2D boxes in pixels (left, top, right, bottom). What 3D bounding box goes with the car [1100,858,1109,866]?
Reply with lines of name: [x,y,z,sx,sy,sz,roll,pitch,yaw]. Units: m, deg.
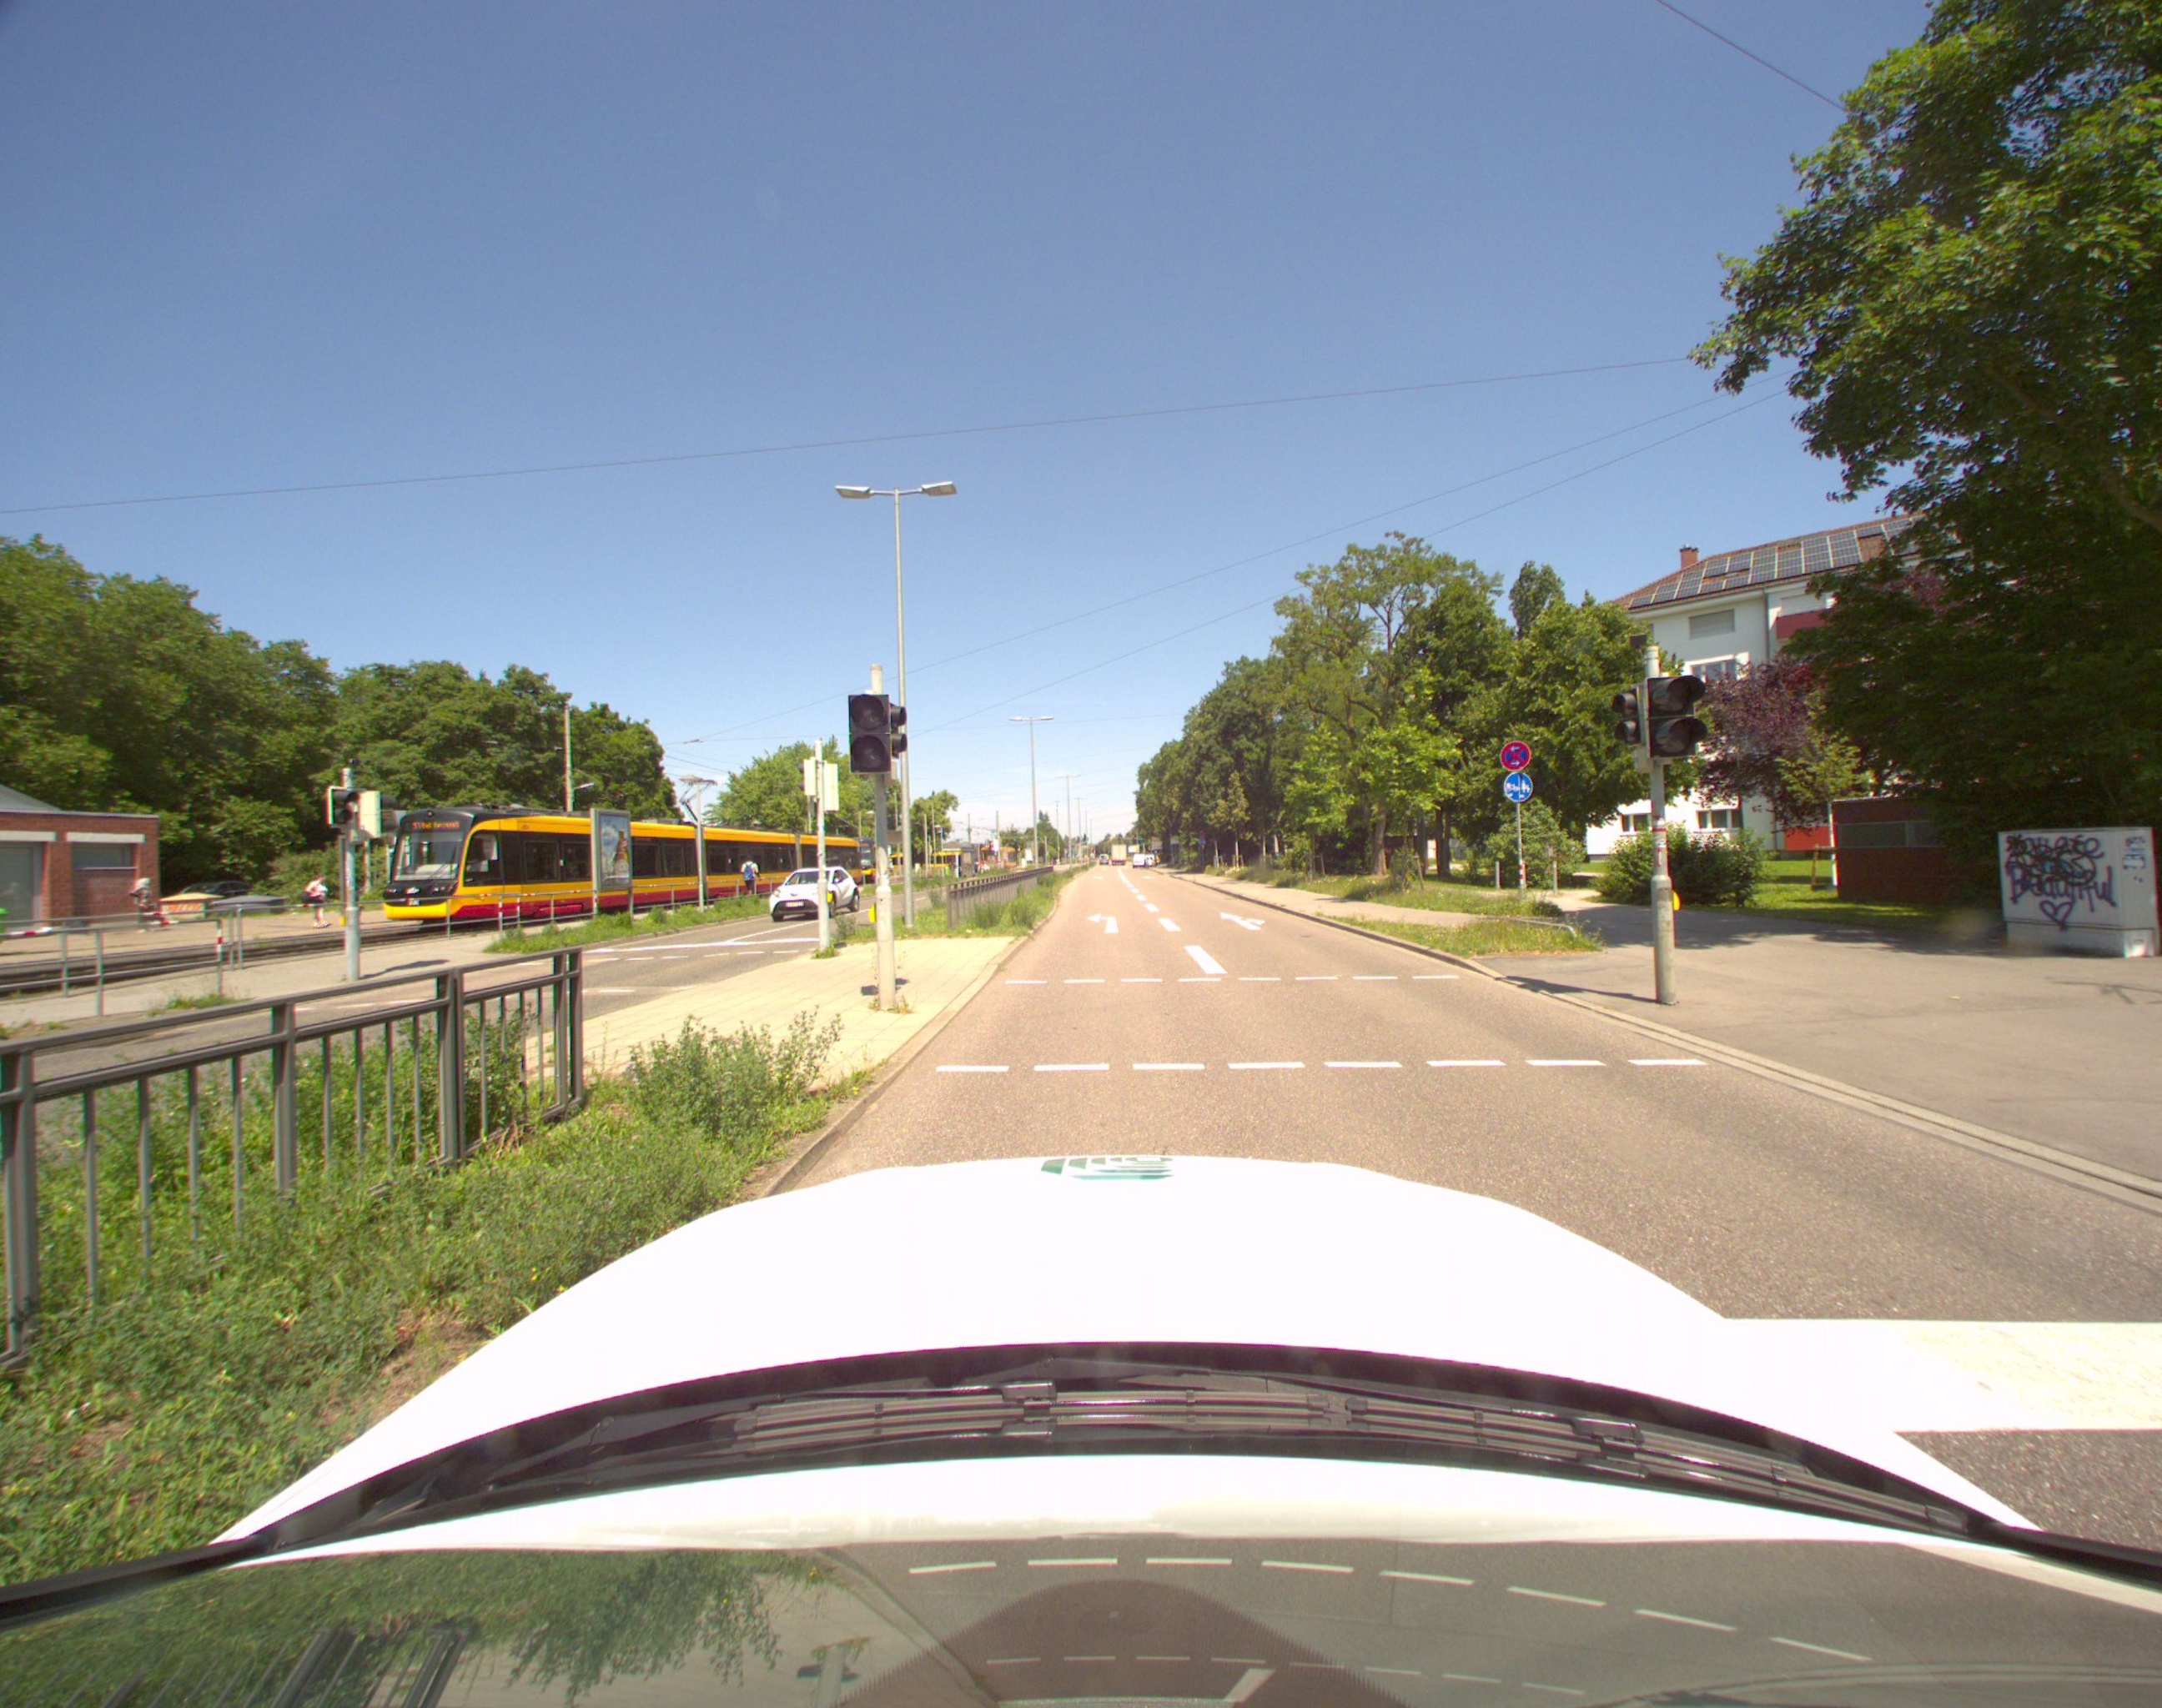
car: [4.570,1.490,157.960,1.804,1.464,4.002,-2,0,2]

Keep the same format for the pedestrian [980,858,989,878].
pedestrian: [-10.123,1.436,85.322,0.812,2.013,0.939,-2,0,1]

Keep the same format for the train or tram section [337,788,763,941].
train or tram section: [-17.546,0.302,30.625,3.203,3.931,18.510,-2,0,2]

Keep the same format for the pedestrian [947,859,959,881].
pedestrian: [-10.972,1.355,69.685,0.783,1.868,0.818,-2,0,1]

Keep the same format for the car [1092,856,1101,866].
car: [3.338,1.448,175.286,1.986,2.013,4.002,-2,0,2]

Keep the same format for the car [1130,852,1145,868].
car: [7.311,0.779,105.654,1.773,1.903,4.002,-2,0,2]

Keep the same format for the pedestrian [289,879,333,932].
pedestrian: [-21.646,1.437,22.904,0.636,1.456,0.583,-2,0,1]

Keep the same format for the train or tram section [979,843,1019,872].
train or tram section: [-11.889,0.499,121.831,2.948,3.749,30.026,-2,0,0]

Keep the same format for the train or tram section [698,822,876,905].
train or tram section: [-16.716,0.486,49.072,3.203,3.931,18.510,-2,0,2]

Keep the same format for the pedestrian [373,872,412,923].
pedestrian: [-21.613,1.359,25.567,0.635,1.555,0.691,-2,0,-11]

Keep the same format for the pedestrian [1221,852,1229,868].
pedestrian: [12.865,0.515,72.660,0.600,1.438,0.557,-2,0,8]

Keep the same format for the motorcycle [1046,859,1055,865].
motorcycle: [-7.367,1.831,197.298,2.183,1.406,0.845,-2,0,-10]

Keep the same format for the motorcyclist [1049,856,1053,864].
motorcyclist: [-7.289,1.395,197.339,0.924,1.835,0.847,-2,0,-10]

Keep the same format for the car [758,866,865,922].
car: [-8.100,1.159,24.829,1.838,1.494,3.793,-2,0,2]

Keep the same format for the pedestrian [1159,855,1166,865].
pedestrian: [16.364,1.186,163.116,1.180,2.013,1.214,-2,0,1]

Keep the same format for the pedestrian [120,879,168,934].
pedestrian: [-25.868,1.434,22.492,0.636,1.480,0.570,-2,0,1]

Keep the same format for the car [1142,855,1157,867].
car: [9.395,0.947,112.377,1.773,1.668,4.002,-2,0,2]

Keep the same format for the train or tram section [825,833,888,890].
train or tram section: [-18.024,0.582,66.798,3.216,3.931,18.433,-2,0,-10]

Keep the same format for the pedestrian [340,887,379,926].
pedestrian: [-21.765,1.589,24.582,0.636,1.124,0.570,-2,0,1]

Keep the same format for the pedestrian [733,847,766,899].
pedestrian: [-11.643,0.654,28.629,0.715,1.777,0.843,3,2,1]

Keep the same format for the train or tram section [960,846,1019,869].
train or tram section: [-17.611,0.710,151.663,2.942,3.789,32.853,-1,0,-21]

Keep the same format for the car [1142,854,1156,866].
car: [9.920,0.803,118.731,1.773,1.668,4.002,-2,0,2]

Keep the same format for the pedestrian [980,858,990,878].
pedestrian: [-9.903,1.421,84.022,0.812,2.013,0.939,-2,0,1]

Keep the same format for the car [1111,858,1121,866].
car: [6.498,1.454,153.643,1.804,1.464,4.002,-2,0,2]

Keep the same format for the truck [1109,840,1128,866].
truck: [6.775,-0.137,146.096,3.193,4.359,6.563,-2,0,2]
